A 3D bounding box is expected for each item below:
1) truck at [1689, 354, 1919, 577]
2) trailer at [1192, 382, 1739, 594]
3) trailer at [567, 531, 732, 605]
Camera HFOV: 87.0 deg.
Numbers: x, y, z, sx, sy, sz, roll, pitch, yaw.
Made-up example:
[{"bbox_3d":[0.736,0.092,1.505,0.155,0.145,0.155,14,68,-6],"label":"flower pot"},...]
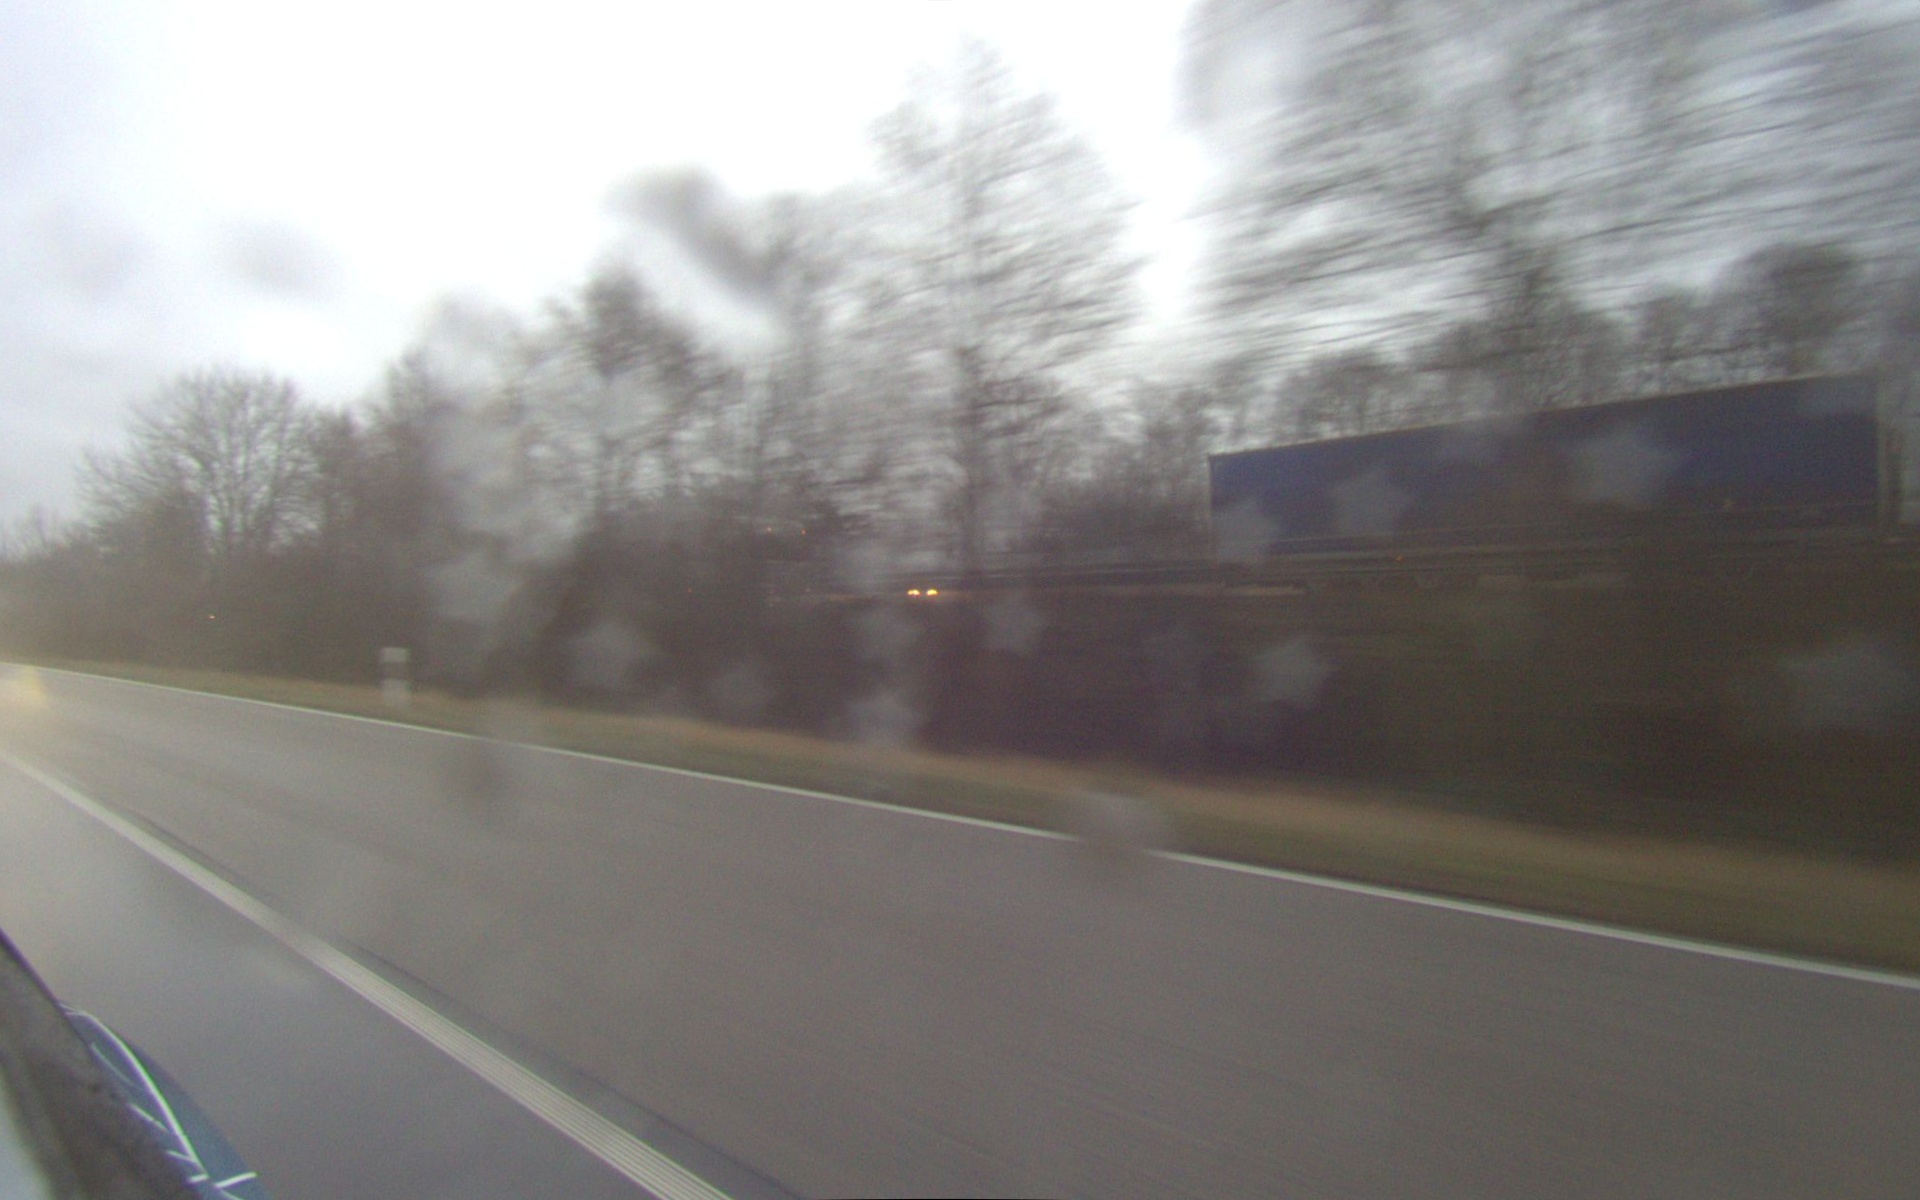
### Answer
[{"bbox_3d":[17.572,-2.437,18.883,6.065,3.660,2.960,-2,-2,42],"label":"truck"},{"bbox_3d":[11.459,-2.184,24.433,11.384,3.661,2.966,-2,-2,42],"label":"trailer"},{"bbox_3d":[-15.361,-1.400,49.312,11.083,2.913,2.409,-2,-2,43],"label":"trailer"}]
